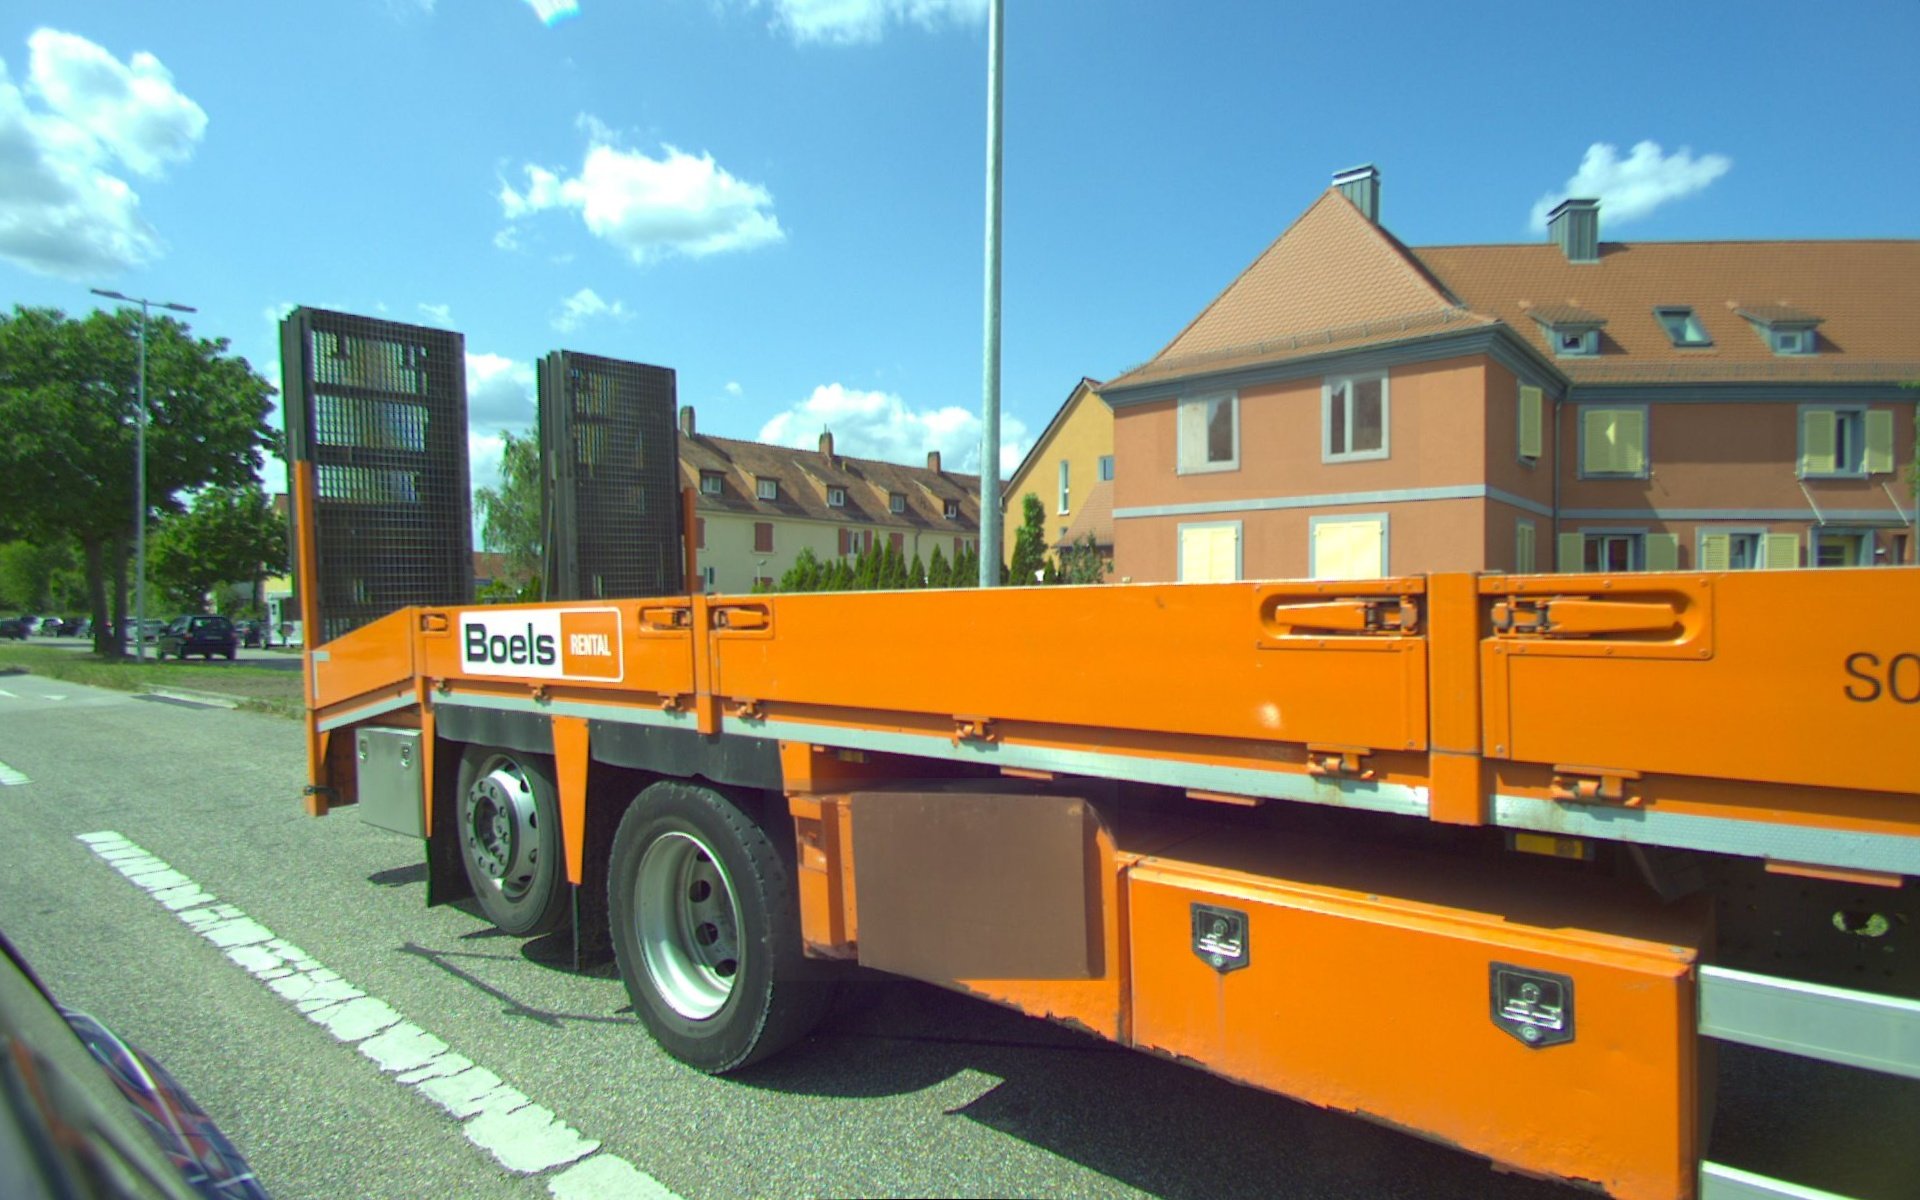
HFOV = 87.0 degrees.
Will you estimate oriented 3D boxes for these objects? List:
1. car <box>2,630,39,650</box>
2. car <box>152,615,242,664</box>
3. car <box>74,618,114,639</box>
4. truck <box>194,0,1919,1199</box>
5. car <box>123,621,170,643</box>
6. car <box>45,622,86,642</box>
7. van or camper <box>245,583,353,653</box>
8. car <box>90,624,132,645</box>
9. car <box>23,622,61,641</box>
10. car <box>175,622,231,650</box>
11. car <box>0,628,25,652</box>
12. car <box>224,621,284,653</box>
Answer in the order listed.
[{"bbox_3d":[-83.450,3.533,89.910,4.307,1.624,1.645,0,2,37],"label":"car"},{"bbox_3d":[-28.144,1.416,37.303,3.997,1.702,1.776,-1,-1,40],"label":"car"},{"bbox_3d":[-65.003,2.117,75.972,3.472,1.405,1.548,0,2,38],"label":"car"},{"bbox_3d":[1.045,-0.428,3.118,11.060,3.439,3.040,0,2,40],"label":"truck"},{"bbox_3d":[-53.543,2.083,66.557,4.527,1.380,1.496,-1,1,40],"label":"car"},{"bbox_3d":[-71.762,2.567,81.157,4.096,1.492,1.645,-1,1,37],"label":"car"},{"bbox_3d":[-32.435,0.892,49.537,7.313,3.135,2.237,-2,1,40],"label":"van or camper"},{"bbox_3d":[-61.427,2.488,73.213,4.350,1.405,1.389,-1,1,38],"label":"car"},{"bbox_3d":[-77.455,2.632,85.337,3.840,1.462,1.645,0,2,37],"label":"car"},{"bbox_3d":[-44.396,2.081,59.320,4.120,1.496,1.672,0,2,40],"label":"car"},{"bbox_3d":[-63.233,2.592,66.587,4.569,1.449,1.755,0,-1,38],"label":"car"},{"bbox_3d":[-37.725,1.959,54.037,3.989,1.496,1.620,0,2,40],"label":"car"}]
